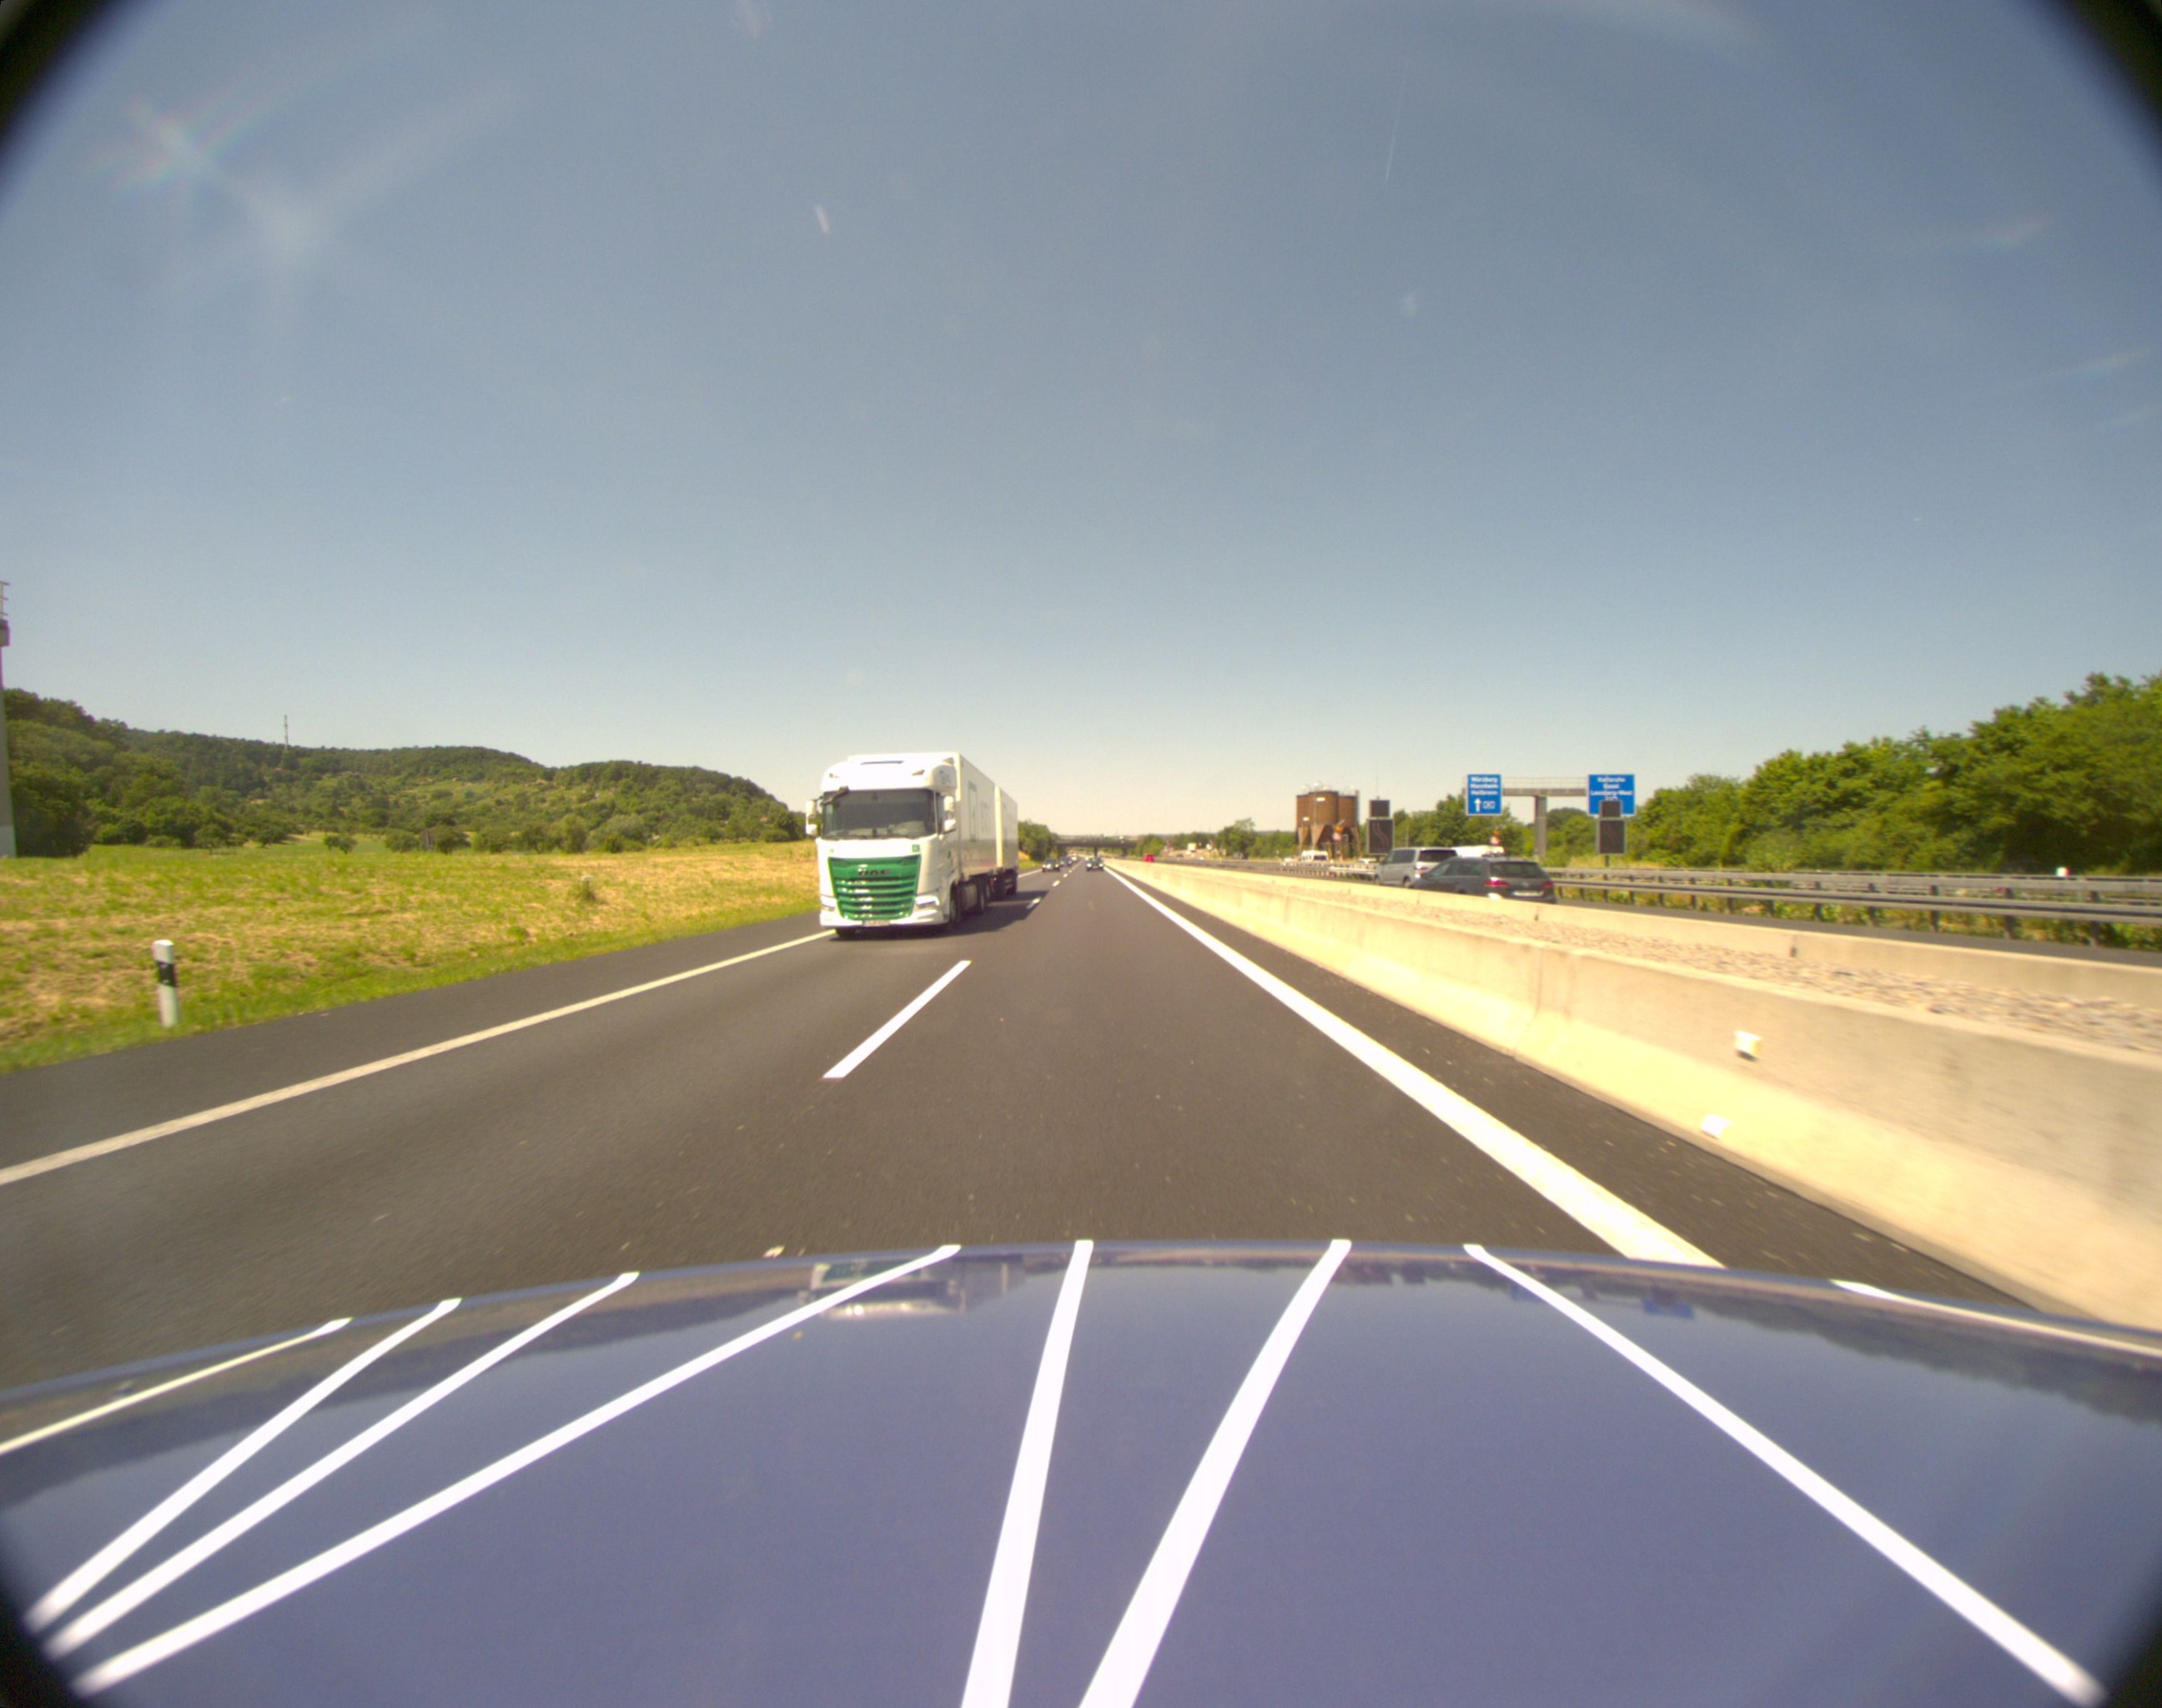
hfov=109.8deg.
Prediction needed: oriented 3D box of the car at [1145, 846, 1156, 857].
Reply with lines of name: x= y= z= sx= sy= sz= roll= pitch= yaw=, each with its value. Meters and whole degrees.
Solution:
car: x=14.386 y=-0.529 z=157.250 sx=1.998 sy=2.002 sz=3.999 roll=-2 pitch=1 yaw=1

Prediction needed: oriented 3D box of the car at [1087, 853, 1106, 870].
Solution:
car: x=1.505 y=0.698 z=76.911 sx=1.799 sy=1.574 sz=3.999 roll=-2 pitch=1 yaw=0

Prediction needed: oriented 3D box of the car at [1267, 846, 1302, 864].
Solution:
car: x=24.939 y=0.100 z=93.455 sx=2.502 sy=2.153 sz=6.934 roll=1 pitch=1 yaw=1

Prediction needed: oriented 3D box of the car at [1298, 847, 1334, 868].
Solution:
car: x=29.777 y=0.414 z=96.413 sx=2.803 sy=2.487 sz=5.963 roll=1 pitch=0 yaw=1

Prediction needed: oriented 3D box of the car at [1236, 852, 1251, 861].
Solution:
car: x=30.157 y=0.416 z=141.077 sx=1.799 sy=1.502 sz=3.999 roll=-2 pitch=1 yaw=1

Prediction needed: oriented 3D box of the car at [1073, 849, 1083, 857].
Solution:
car: x=-0.712 y=-0.262 z=172.418 sx=1.998 sy=1.574 sz=4.000 roll=-3 pitch=0 yaw=2

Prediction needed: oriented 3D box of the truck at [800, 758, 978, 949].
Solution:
truck: x=-3.988 y=-0.031 z=16.832 sx=2.649 sy=3.572 sz=4.403 roll=-2 pitch=1 yaw=0

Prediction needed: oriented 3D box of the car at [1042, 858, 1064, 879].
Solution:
car: x=-2.861 y=1.463 z=79.385 sx=1.998 sy=2.002 sz=3.999 roll=-2 pitch=1 yaw=1

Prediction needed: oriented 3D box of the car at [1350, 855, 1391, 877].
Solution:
car: x=25.331 y=1.034 z=66.635 sx=1.799 sy=1.718 sz=4.452 roll=-2 pitch=1 yaw=0

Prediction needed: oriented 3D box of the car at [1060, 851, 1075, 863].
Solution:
car: x=-1.946 y=0.460 z=110.467 sx=1.998 sy=1.574 sz=4.000 roll=-3 pitch=0 yaw=2

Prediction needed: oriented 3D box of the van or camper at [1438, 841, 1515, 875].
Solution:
van or camper: x=28.953 y=0.207 z=55.953 sx=2.112 sy=2.242 sz=6.966 roll=-2 pitch=1 yaw=1

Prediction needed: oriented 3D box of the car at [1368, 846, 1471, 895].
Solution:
car: x=13.729 y=0.618 z=31.211 sx=1.998 sy=1.831 sz=5.084 roll=1 pitch=0 yaw=1

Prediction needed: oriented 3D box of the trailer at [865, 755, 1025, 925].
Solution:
trailer: x=-3.955 y=-0.409 z=26.519 sx=2.663 sy=4.164 sz=14.893 roll=-2 pitch=1 yaw=0

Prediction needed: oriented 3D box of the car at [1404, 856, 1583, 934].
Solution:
car: x=9.479 y=0.863 z=17.917 sx=1.799 sy=1.586 sz=4.307 roll=-1 pitch=0 yaw=-1
